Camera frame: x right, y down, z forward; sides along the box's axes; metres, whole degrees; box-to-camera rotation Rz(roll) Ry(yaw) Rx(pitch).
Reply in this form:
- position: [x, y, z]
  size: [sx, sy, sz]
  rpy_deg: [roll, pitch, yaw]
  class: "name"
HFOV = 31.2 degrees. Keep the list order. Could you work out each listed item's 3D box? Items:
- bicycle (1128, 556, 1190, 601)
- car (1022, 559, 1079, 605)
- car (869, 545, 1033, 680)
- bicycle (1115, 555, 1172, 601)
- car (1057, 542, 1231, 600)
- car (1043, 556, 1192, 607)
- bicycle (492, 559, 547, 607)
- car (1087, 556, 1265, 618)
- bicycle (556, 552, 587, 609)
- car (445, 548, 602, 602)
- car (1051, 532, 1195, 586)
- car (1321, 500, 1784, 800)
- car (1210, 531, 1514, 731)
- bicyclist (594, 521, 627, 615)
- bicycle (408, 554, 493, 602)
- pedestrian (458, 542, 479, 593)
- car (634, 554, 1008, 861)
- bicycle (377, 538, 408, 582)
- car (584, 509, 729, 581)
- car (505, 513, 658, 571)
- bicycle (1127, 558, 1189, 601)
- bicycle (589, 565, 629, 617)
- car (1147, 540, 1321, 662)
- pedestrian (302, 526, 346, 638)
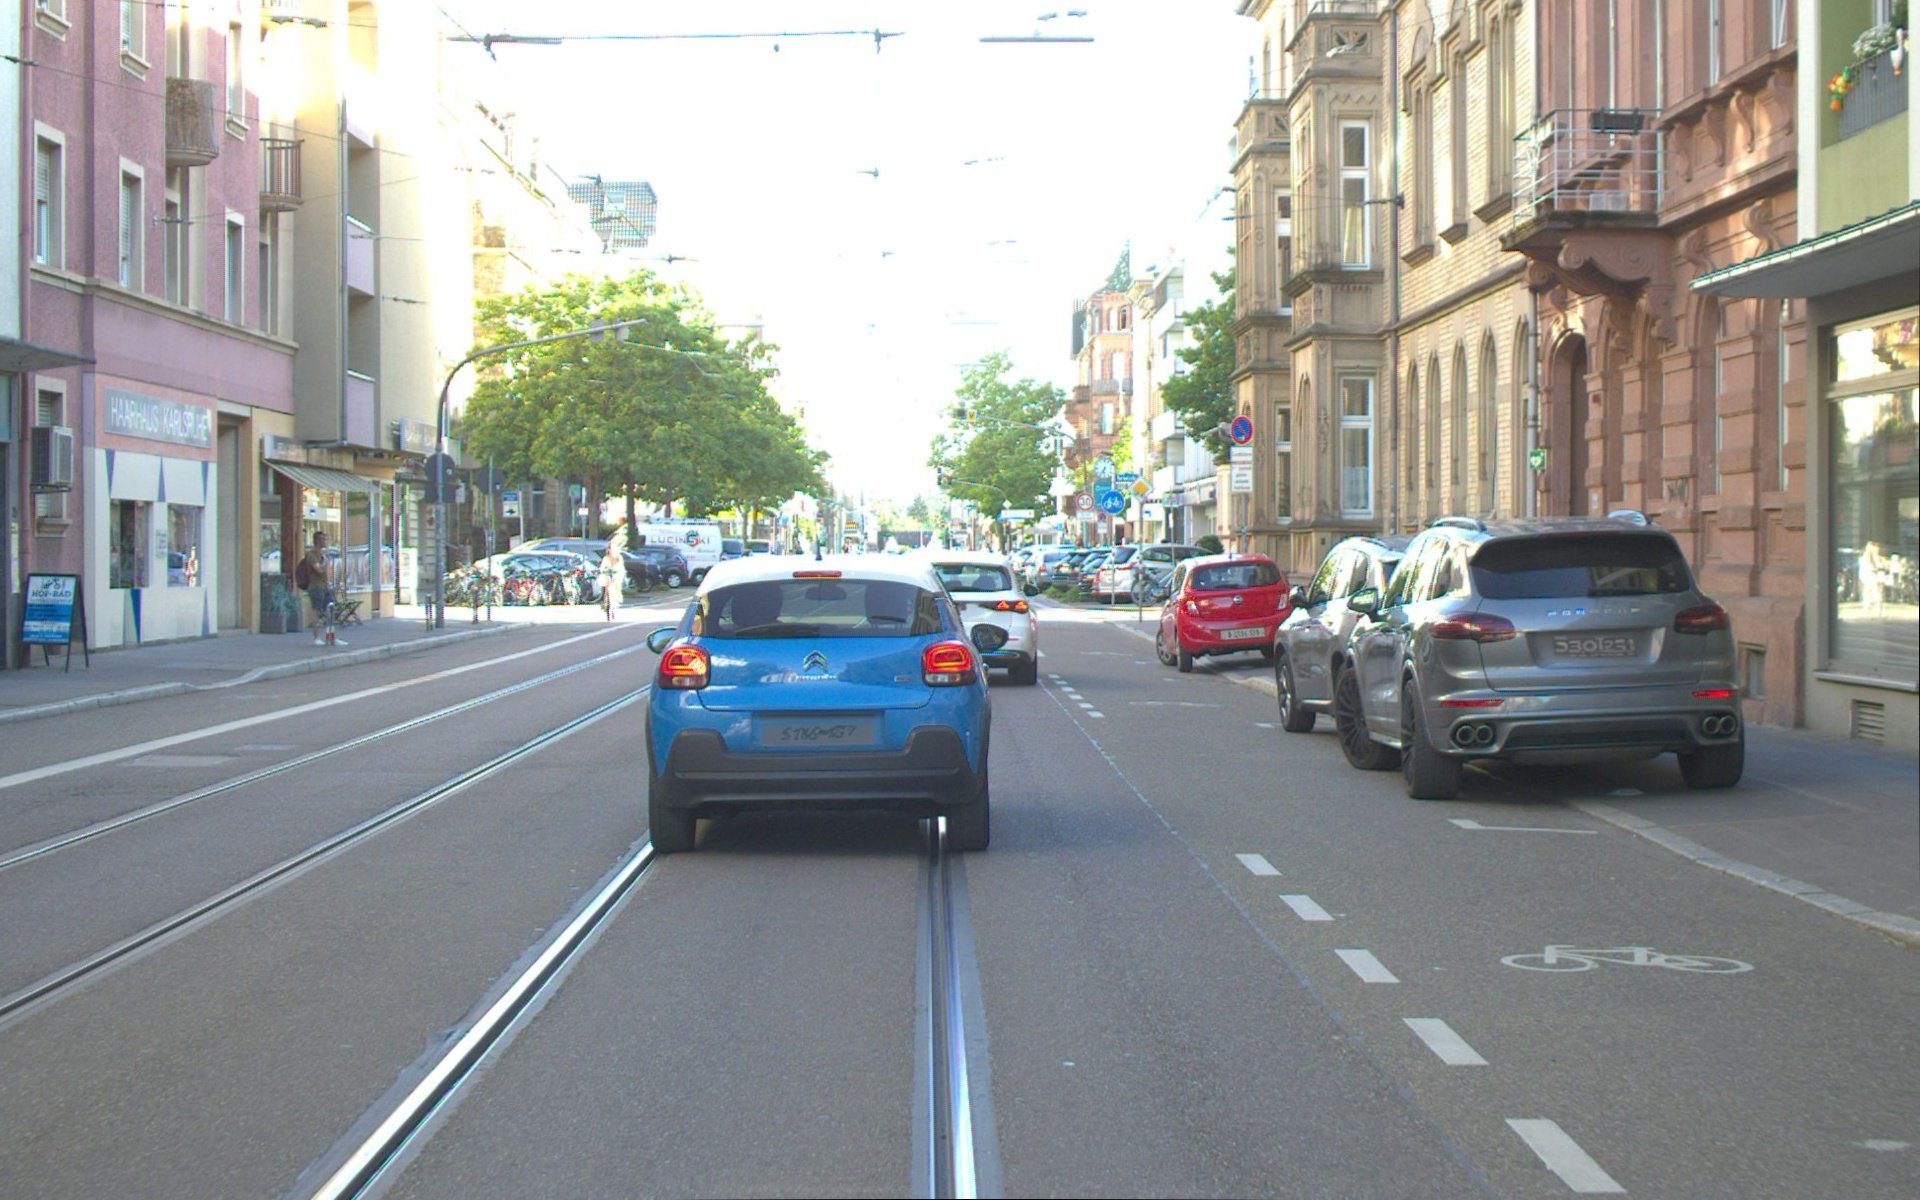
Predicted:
- position: [5.095, -0.559, 88.222]
  size: [1.560, 1.123, 0.294]
  rpy_deg: [1, 0, 6]
  class: "bicycle"
- position: [3.213, -0.640, 122.258]
  size: [1.873, 1.590, 4.719]
  rpy_deg: [1, 1, 0]
  class: "car"
- position: [-0.118, 0.120, 39.133]
  size: [1.762, 1.436, 3.557]
  rpy_deg: [1, 1, -1]
  class: "car"
- position: [4.582, -0.557, 85.882]
  size: [1.397, 1.123, 0.551]
  rpy_deg: [1, 0, 0]
  class: "bicycle"
- position: [5.195, -0.821, 97.288]
  size: [4.433, 1.590, 2.089]
  rpy_deg: [1, 1, -25]
  class: "car"
- position: [5.024, -0.590, 109.915]
  size: [4.302, 1.590, 1.983]
  rpy_deg: [1, 1, -25]
  class: "car"
- position: [-11.150, -0.435, 86.987]
  size: [0.681, 1.119, 1.888]
  rpy_deg: [-1, 3, -31]
  class: "bicycle"
- position: [5.762, -0.352, 91.536]
  size: [4.350, 1.590, 1.854]
  rpy_deg: [1, 1, -25]
  class: "car"
- position: [-9.748, -0.489, 86.362]
  size: [0.681, 1.315, 2.436]
  rpy_deg: [1, 3, -4]
  class: "bicycle"
- position: [-11.771, -0.674, 92.764]
  size: [3.779, 1.395, 1.755]
  rpy_deg: [0, 1, -33]
  class: "car"
- position: [5.096, -1.279, 107.474]
  size: [3.986, 1.590, 2.088]
  rpy_deg: [1, 1, -25]
  class: "car"
- position: [3.625, 0.262, 21.957]
  size: [1.993, 1.610, 4.786]
  rpy_deg: [-3, 1, -1]
  class: "car"
- position: [3.509, 0.235, 30.801]
  size: [1.865, 1.641, 4.402]
  rpy_deg: [1, 1, -5]
  class: "car"
- position: [-7.507, -0.684, 73.949]
  size: [0.612, 2.007, 0.734]
  rpy_deg: [1, 0, 0]
  class: "bicyclist"
- position: [-12.821, -0.557, 86.473]
  size: [2.433, 1.105, 0.682]
  rpy_deg: [3, 4, 40]
  class: "bicycle"
- position: [-15.947, -1.046, 111.516]
  size: [0.569, 1.647, 0.641]
  rpy_deg: [1, 0, 0]
  class: "pedestrian"
- position: [-0.684, 0.494, 18.139]
  size: [1.762, 1.436, 3.557]
  rpy_deg: [1, 1, -1]
  class: "car"
- position: [-14.341, -1.001, 86.844]
  size: [0.403, 1.106, 1.838]
  rpy_deg: [0, 0, -21]
  class: "bicycle"
- position: [-11.873, -2.133, 134.759]
  size: [5.370, 2.739, 1.806]
  rpy_deg: [0, 0, -30]
  class: "car"
- position: [-11.967, -1.824, 108.684]
  size: [4.352, 1.777, 1.996]
  rpy_deg: [0, 1, -33]
  class: "car"
- position: [5.059, -0.534, 87.901]
  size: [1.556, 1.075, 0.307]
  rpy_deg: [1, 0, 6]
  class: "bicycle"
- position: [-7.521, -0.199, 73.768]
  size: [0.602, 1.092, 2.044]
  rpy_deg: [-2, 0, 0]
  class: "bicycle"
- position: [3.624, -0.008, 46.230]
  size: [1.865, 1.477, 4.401]
  rpy_deg: [-3, 1, -1]
  class: "car"
- position: [-9.644, -0.269, 52.145]
  size: [0.563, 1.680, 0.616]
  rpy_deg: [1, 0, -2]
  class: "pedestrian"
